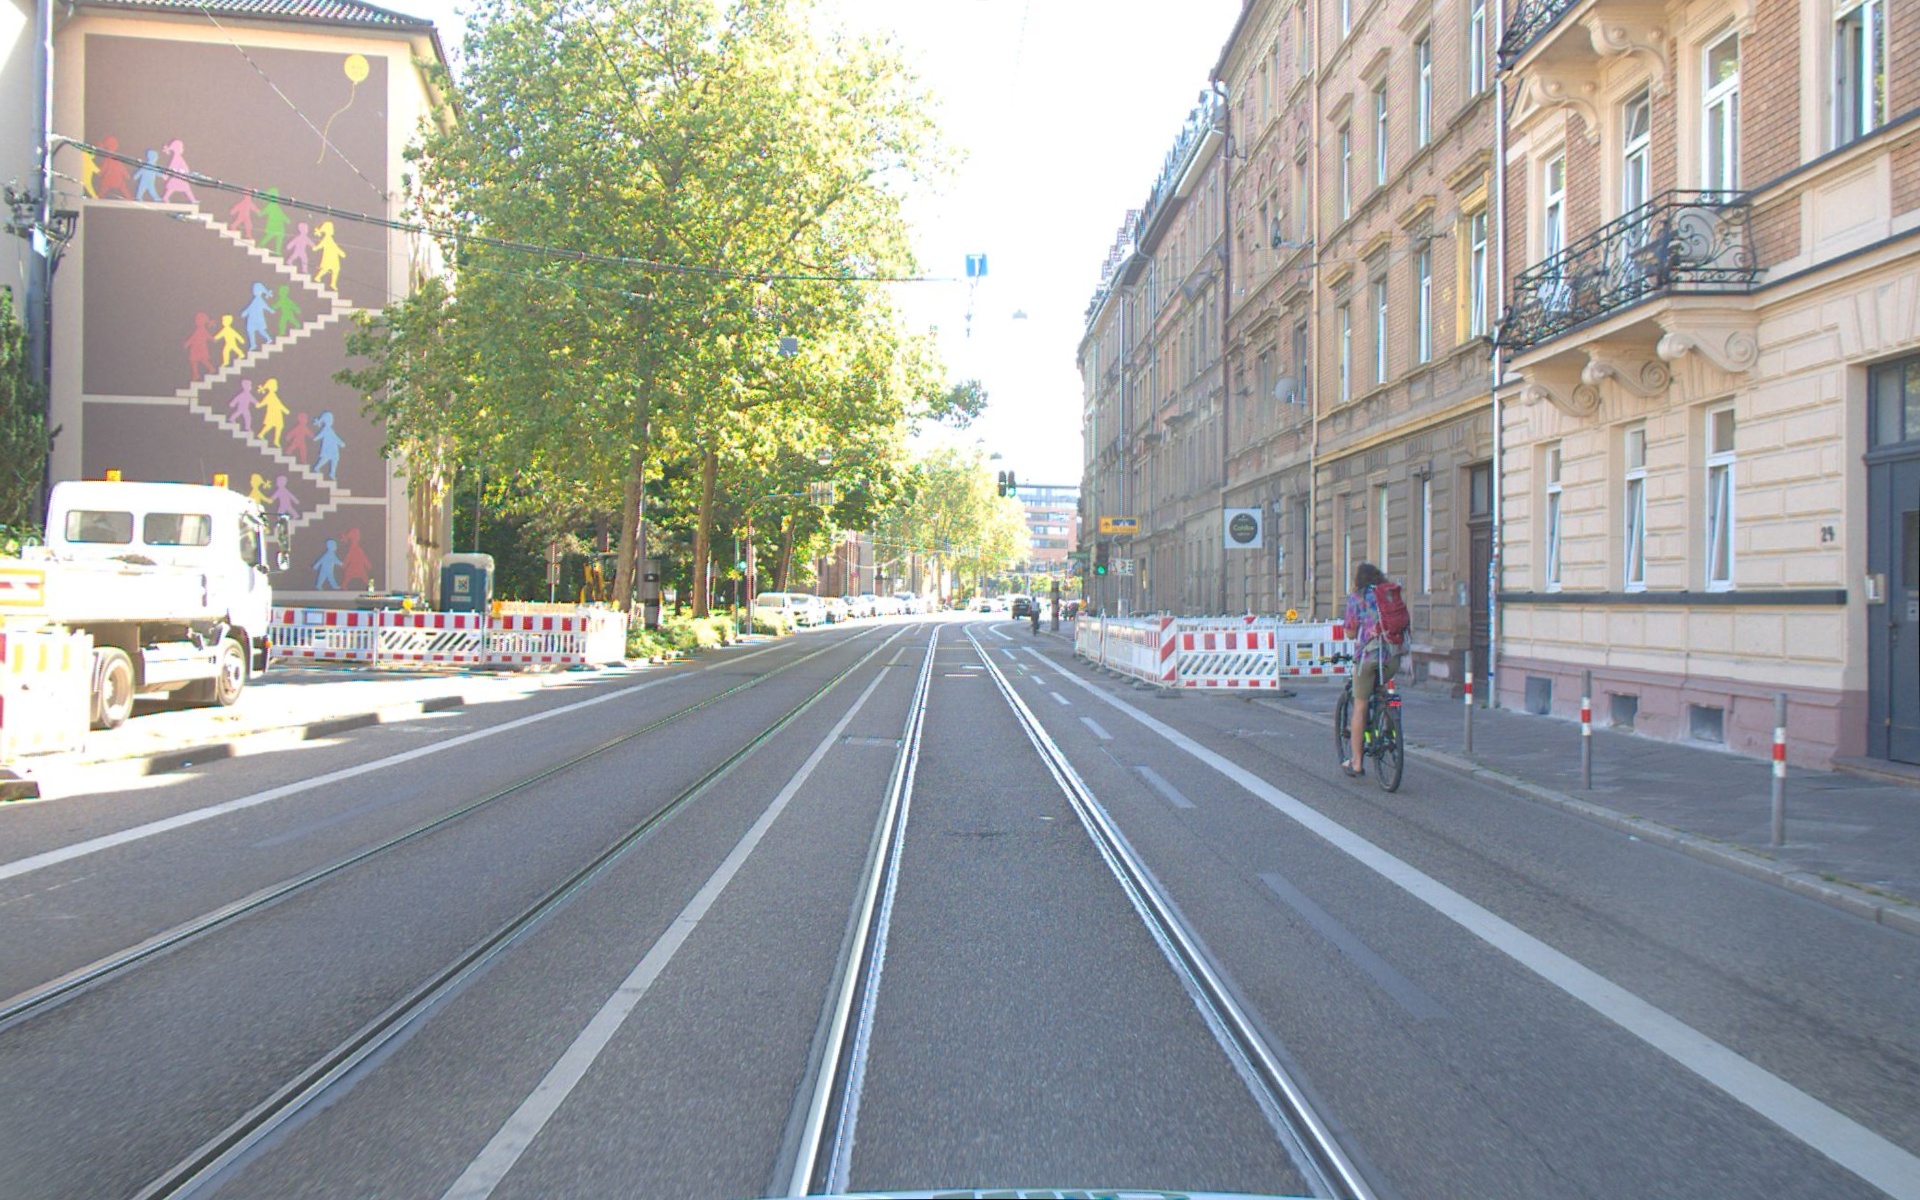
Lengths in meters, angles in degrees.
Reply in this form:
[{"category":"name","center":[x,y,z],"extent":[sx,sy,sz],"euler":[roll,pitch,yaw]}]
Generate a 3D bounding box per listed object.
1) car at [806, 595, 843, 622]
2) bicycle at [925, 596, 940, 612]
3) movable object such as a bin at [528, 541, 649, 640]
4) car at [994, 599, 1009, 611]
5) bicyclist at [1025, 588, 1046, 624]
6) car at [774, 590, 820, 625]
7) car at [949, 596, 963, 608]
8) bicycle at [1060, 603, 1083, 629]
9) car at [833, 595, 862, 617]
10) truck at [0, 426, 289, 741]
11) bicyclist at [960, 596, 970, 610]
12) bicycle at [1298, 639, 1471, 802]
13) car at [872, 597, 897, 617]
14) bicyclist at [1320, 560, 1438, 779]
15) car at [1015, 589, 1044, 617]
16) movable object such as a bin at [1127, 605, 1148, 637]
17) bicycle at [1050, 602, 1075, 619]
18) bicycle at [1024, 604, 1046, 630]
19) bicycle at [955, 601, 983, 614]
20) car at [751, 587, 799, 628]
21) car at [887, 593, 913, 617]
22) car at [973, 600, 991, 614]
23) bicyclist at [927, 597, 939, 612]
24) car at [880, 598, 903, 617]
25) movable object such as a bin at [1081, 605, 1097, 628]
[{"category":"car","center":[-8.128,0.494,99.272],"extent":[1.712,1.536,4.044],"euler":[2,0,2]},{"category":"bicycle","center":[-2.888,0.469,173.211],"extent":[1.208,1.600,2.899],"euler":[2,-1,7]},{"category":"movable object such as a bin","center":[-10.986,-0.271,49.414],"extent":[2.445,2.691,5.985],"euler":[2,0,-3]},{"category":"car","center":[5.325,0.638,210.861],"extent":[1.712,1.447,4.045],"euler":[2,0,4]},{"category":"bicyclist","center":[3.360,0.268,73.860],"extent":[0.821,1.585,0.965],"euler":[2,-1,-1]},{"category":"car","center":[-8.209,0.387,83.709],"extent":[1.712,1.636,4.044],"euler":[2,0,2]},{"category":"car","center":[-0.592,0.311,236.262],"extent":[1.712,1.653,4.045],"euler":[2,0,4]},{"category":"bicycle","center":[6.736,0.981,99.697],"extent":[0.950,1.541,3.248],"euler":[2,-1,11]},{"category":"car","center":[-8.301,0.440,122.218],"extent":[1.712,1.521,4.044],"euler":[2,0,2]},{"category":"truck","center":[-9.825,-0.170,18.313],"extent":[2.488,2.879,6.370],"euler":[2,0,-4]},{"category":"bicyclist","center":[0.584,0.345,175.733],"extent":[0.880,1.452,1.054],"euler":[2,-1,8]},{"category":"bicycle","center":[3.441,0.933,13.679],"extent":[0.667,1.134,2.706],"euler":[2,0,-1]},{"category":"car","center":[-6.510,0.617,142.816],"extent":[1.712,1.614,4.044],"euler":[2,0,2]},{"category":"bicyclist","center":[3.461,0.560,13.726],"extent":[0.653,1.726,1.043],"euler":[2,-1,-1]},{"category":"car","center":[5.252,0.236,125.439],"extent":[1.953,2.049,4.000],"euler":[2,-1,0]},{"category":"movable object such as a bin","center":[6.500,0.763,60.462],"extent":[0.607,1.129,0.780],"euler":[2,-1,-3]},{"category":"bicycle","center":[7.159,0.733,115.325],"extent":[0.629,1.137,2.288],"euler":[1,-1,36]},{"category":"bicycle","center":[3.334,0.741,73.916],"extent":[0.838,1.107,2.487],"euler":[2,0,0]},{"category":"bicycle","center":[0.955,0.801,175.731],"extent":[2.826,1.253,0.885],"euler":[2,-1,10]},{"category":"car","center":[-8.171,0.343,73.312],"extent":[1.513,1.687,3.763],"euler":[2,-1,2]},{"category":"car","center":[-5.532,0.466,153.048],"extent":[2.016,2.088,4.044],"euler":[2,-1,2]},{"category":"car","center":[2.462,0.815,181.118],"extent":[1.712,1.447,4.045],"euler":[2,0,4]},{"category":"bicyclist","center":[-2.821,0.477,173.167],"extent":[1.054,1.452,1.147],"euler":[2,-1,8]},{"category":"car","center":[-6.099,0.672,148.012],"extent":[1.712,1.614,4.044],"euler":[2,0,2]},{"category":"movable object such as a bin","center":[6.130,0.776,78.640],"extent":[0.659,1.054,0.813],"euler":[0,1,0]}]
